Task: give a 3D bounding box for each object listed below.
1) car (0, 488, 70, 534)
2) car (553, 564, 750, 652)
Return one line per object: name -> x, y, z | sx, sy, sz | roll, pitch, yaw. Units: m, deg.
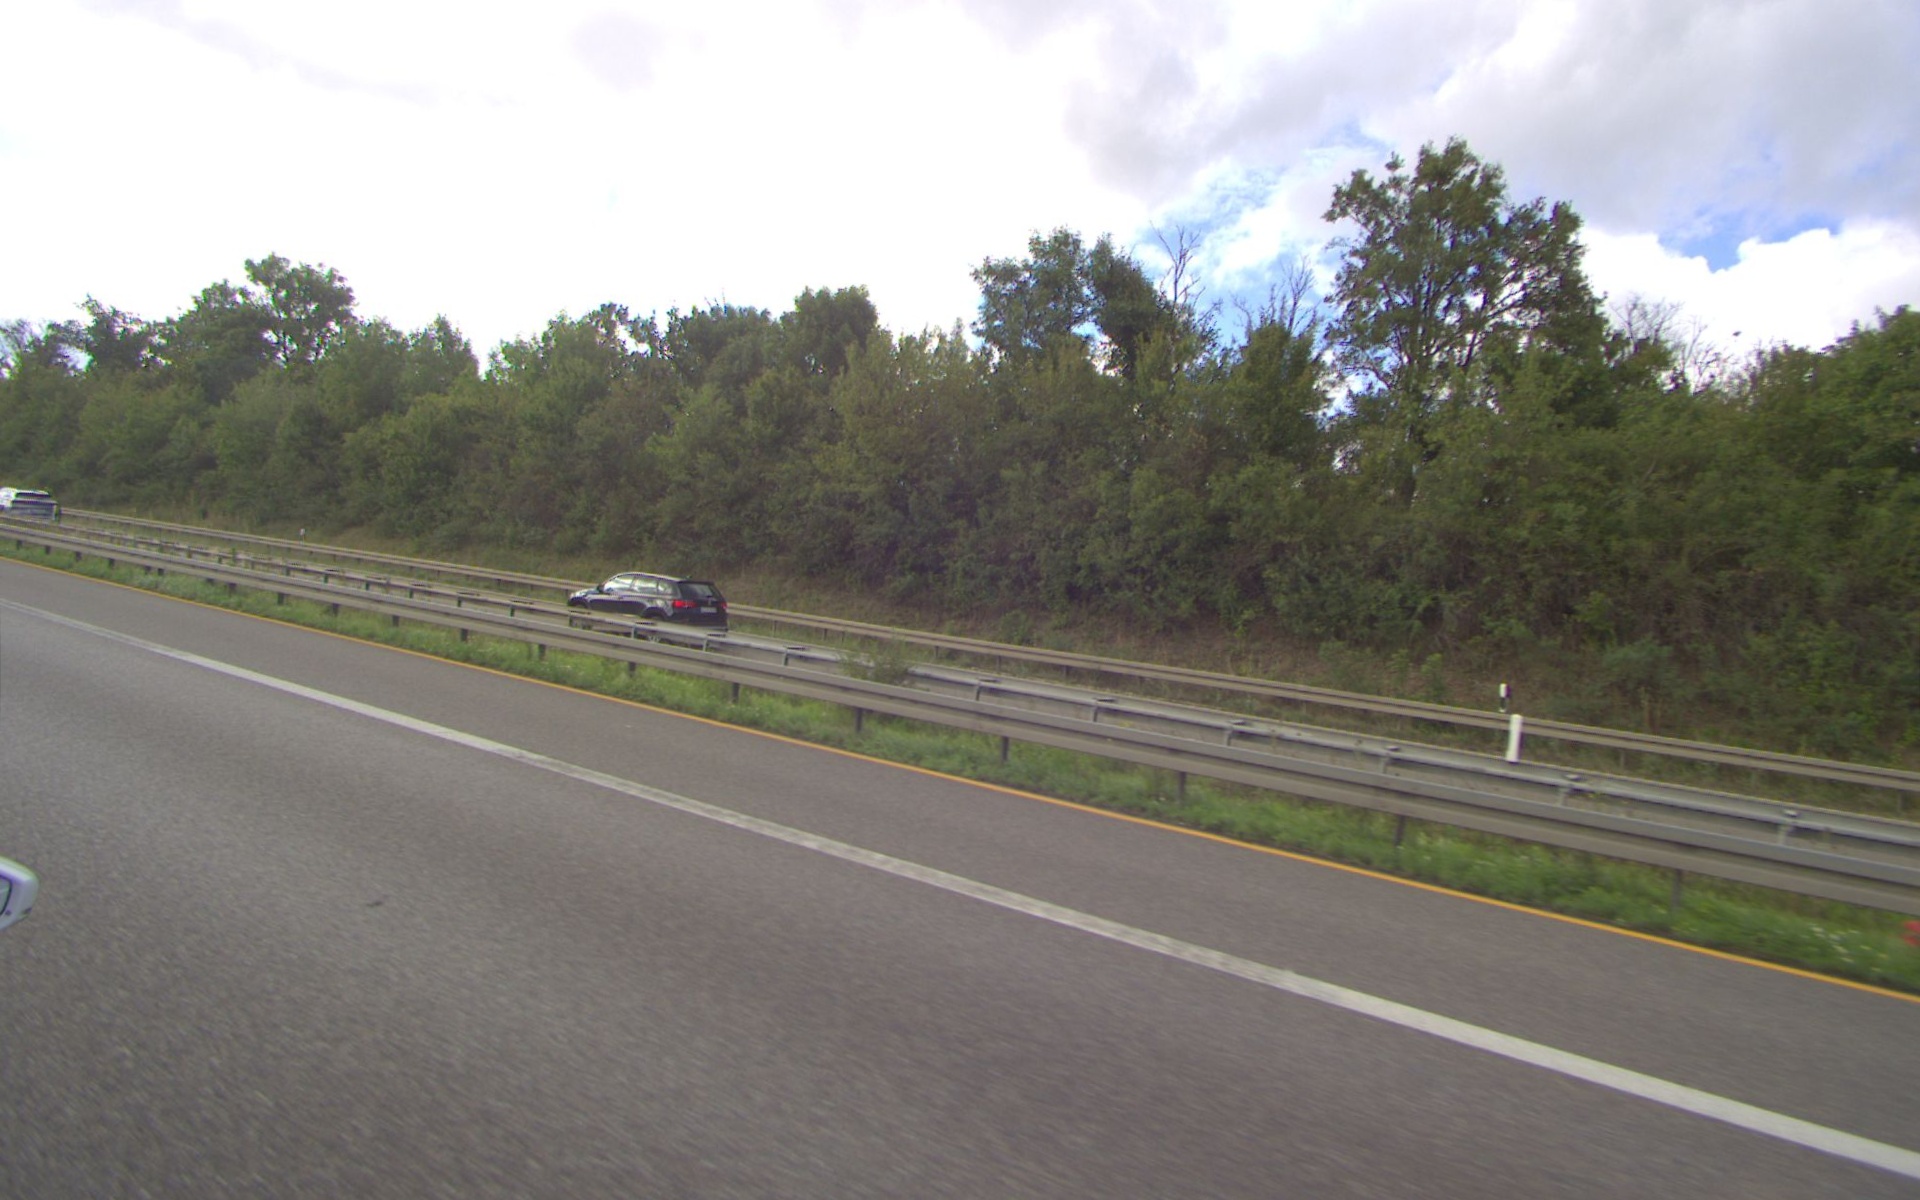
car -> -42.309, -4.069, 45.519 | 4.234, 1.671, 1.848 | 7, 2, 32
car -> -7.282, 0.169, 23.602 | 4.450, 1.504, 1.844 | 7, 2, 32
